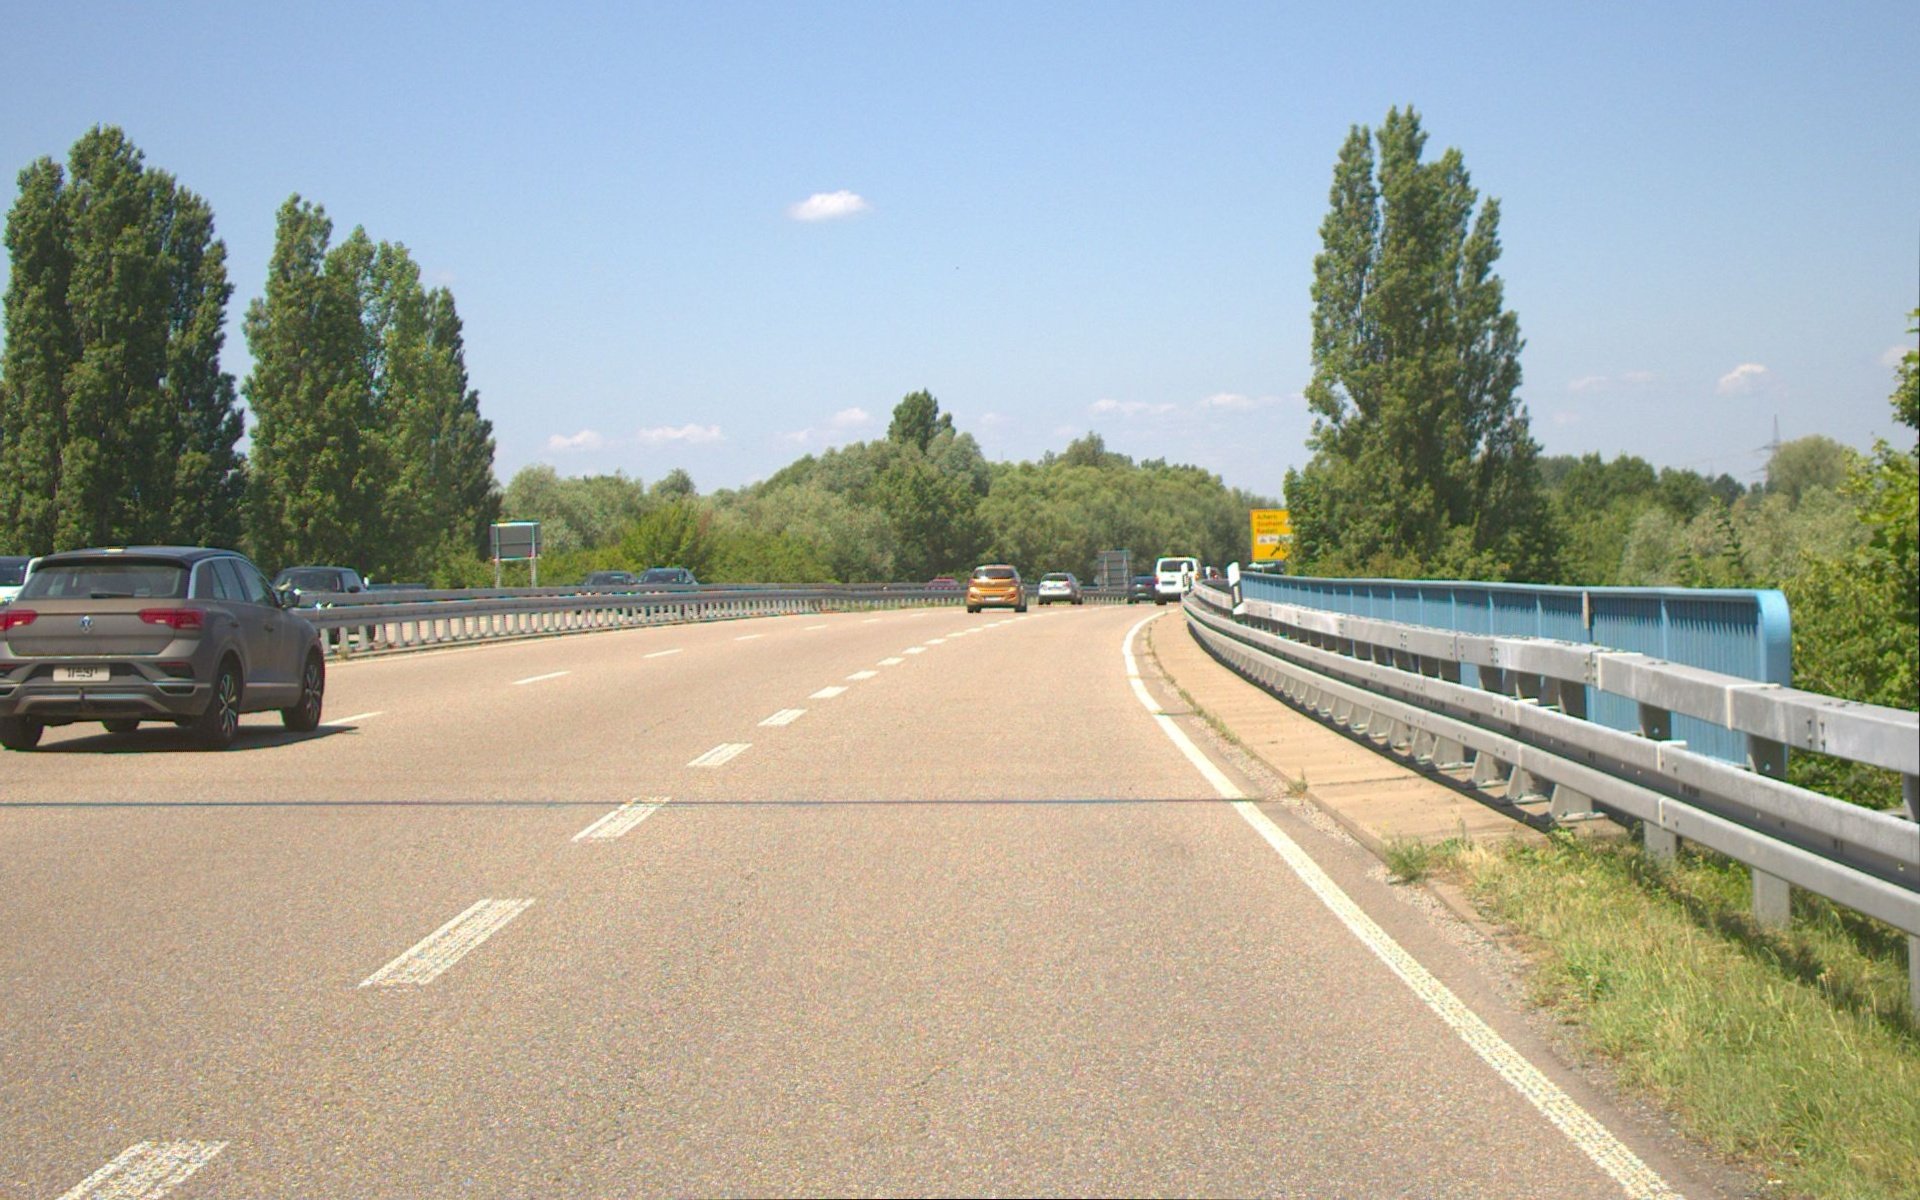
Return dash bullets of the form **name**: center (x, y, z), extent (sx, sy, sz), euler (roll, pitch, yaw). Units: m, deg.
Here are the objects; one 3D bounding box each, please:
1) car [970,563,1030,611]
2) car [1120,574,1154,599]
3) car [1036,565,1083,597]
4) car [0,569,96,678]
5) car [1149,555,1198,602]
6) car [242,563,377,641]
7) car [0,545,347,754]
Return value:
- **car**: center (1.238, -0.432, 108.261), extent (1.841, 1.459, 4.000), euler (0, 1, 0)
- **car**: center (10.579, -0.826, 204.941), extent (1.944, 1.459, 4.000), euler (0, 1, 4)
- **car**: center (4.748, -0.907, 163.506), extent (1.842, 1.446, 3.999), euler (0, 1, 7)
- **car**: center (-16.665, 0.416, 59.688), extent (1.853, 1.812, 4.794), euler (-1, 0, 3)
- **car**: center (8.842, -0.918, 142.102), extent (1.841, 1.889, 3.999), euler (0, 1, 6)
- **car**: center (-12.490, 0.041, 66.221), extent (1.725, 1.424, 3.948), euler (-1, 0, 2)
- **car**: center (-6.371, 0.328, 27.553), extent (1.841, 1.524, 4.469), euler (0, 1, 4)
